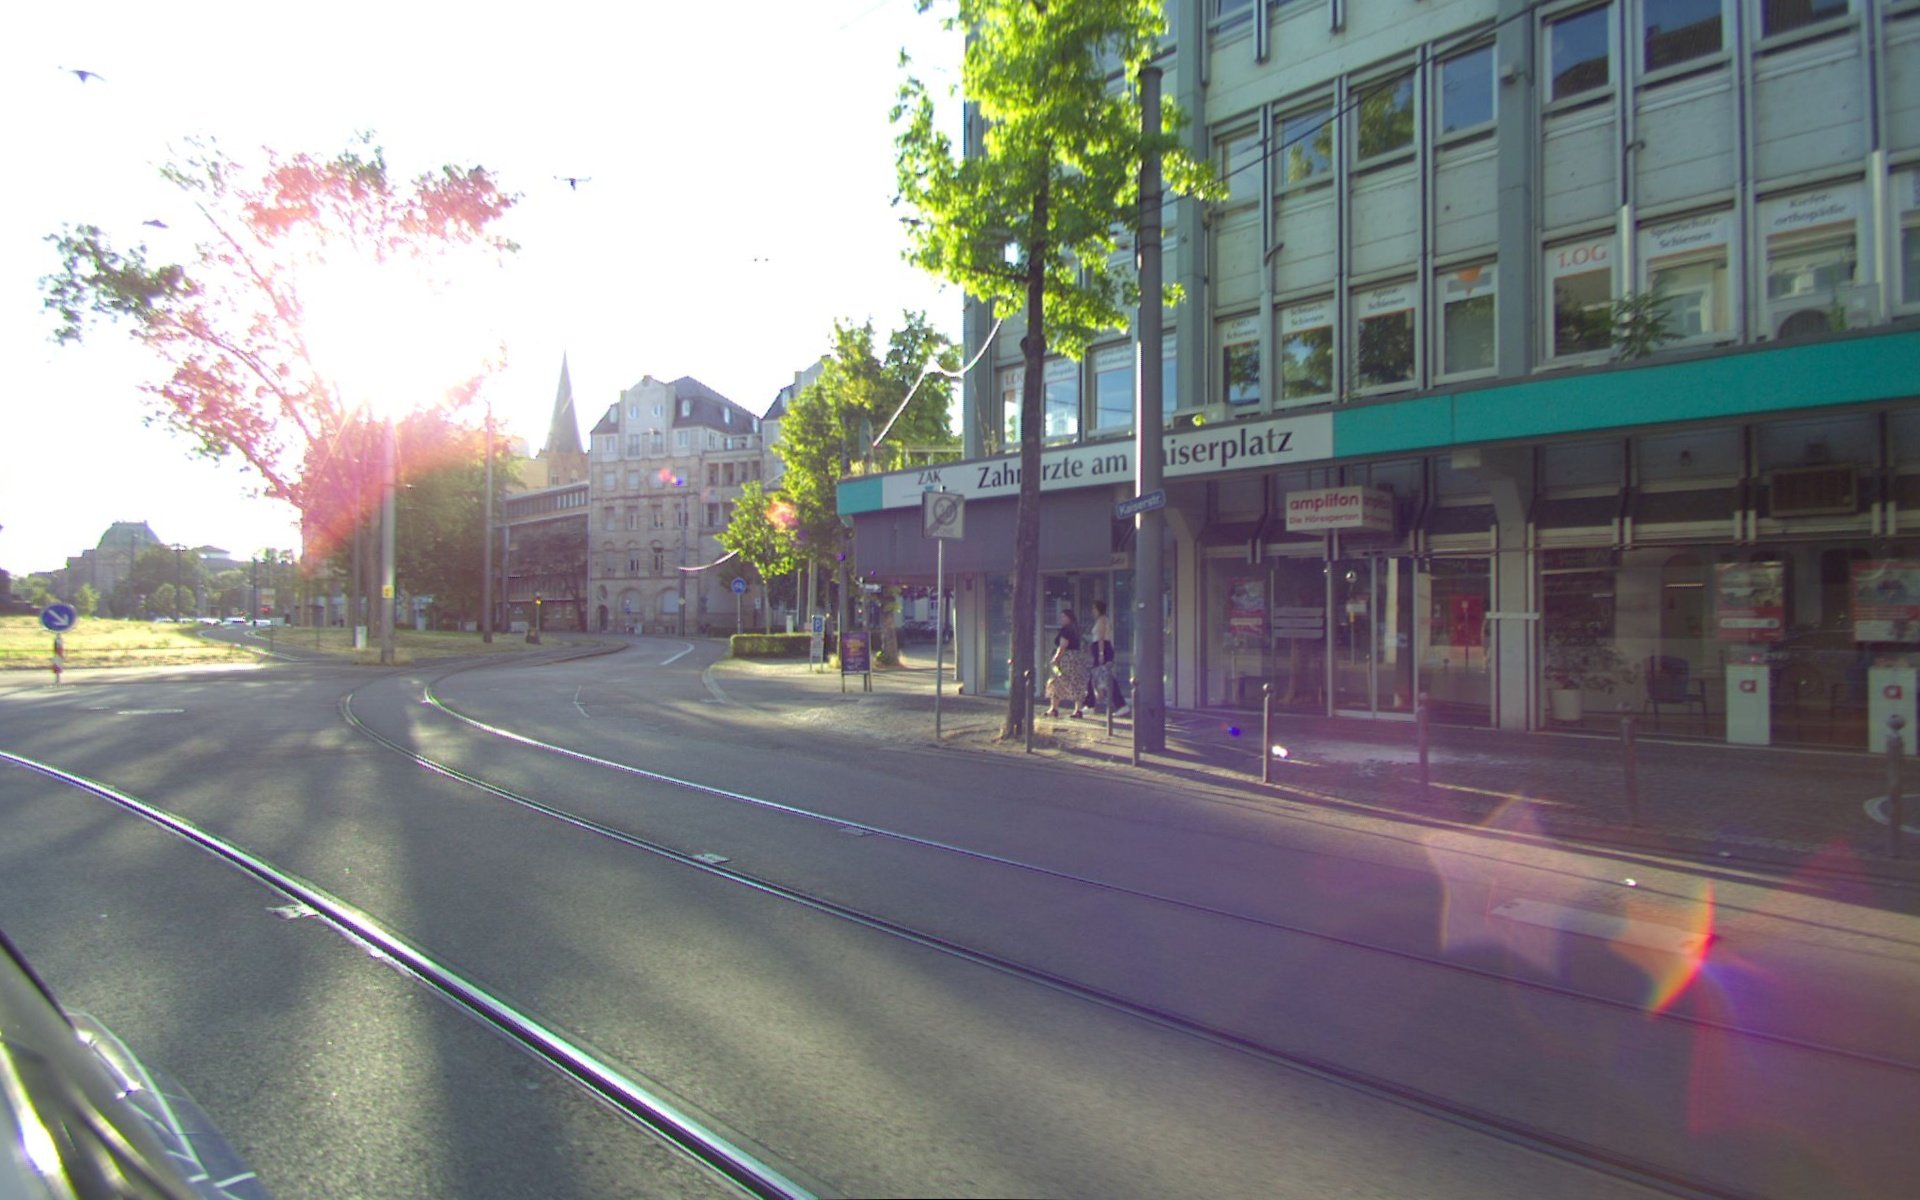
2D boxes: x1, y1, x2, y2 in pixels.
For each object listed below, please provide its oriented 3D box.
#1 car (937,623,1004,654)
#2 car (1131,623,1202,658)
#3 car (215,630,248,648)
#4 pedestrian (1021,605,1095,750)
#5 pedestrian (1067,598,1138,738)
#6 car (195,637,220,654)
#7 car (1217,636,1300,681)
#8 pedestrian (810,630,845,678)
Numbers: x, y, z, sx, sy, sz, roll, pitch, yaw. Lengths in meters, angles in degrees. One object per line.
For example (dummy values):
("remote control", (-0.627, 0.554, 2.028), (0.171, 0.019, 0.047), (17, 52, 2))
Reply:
("car", (0.718, 2.530, 66.864), (3.976, 2.029, 1.984), (0, -2, 24))
("car", (12.618, 2.467, 61.832), (3.976, 2.029, 1.984), (0, -2, 24))
("car", (-81.872, 4.363, 113.696), (4.546, 2.029, 1.973), (-1, -2, 41))
("pedestrian", (1.423, 1.095, 14.749), (0.734, 2.029, 0.787), (-1, -2, 44))
("pedestrian", (2.143, 0.998, 15.185), (0.734, 2.029, 0.787), (-1, -2, 44))
("car", (-98.152, 5.929, 132.005), (1.970, 2.029, 4.003), (3, -3, -44))
("car", (14.082, 2.709, 47.654), (3.938, 2.029, 2.003), (2, -2, -42))
("pedestrian", (-4.861, 1.976, 37.088), (0.892, 1.715, 1.166), (2, -3, -29))
